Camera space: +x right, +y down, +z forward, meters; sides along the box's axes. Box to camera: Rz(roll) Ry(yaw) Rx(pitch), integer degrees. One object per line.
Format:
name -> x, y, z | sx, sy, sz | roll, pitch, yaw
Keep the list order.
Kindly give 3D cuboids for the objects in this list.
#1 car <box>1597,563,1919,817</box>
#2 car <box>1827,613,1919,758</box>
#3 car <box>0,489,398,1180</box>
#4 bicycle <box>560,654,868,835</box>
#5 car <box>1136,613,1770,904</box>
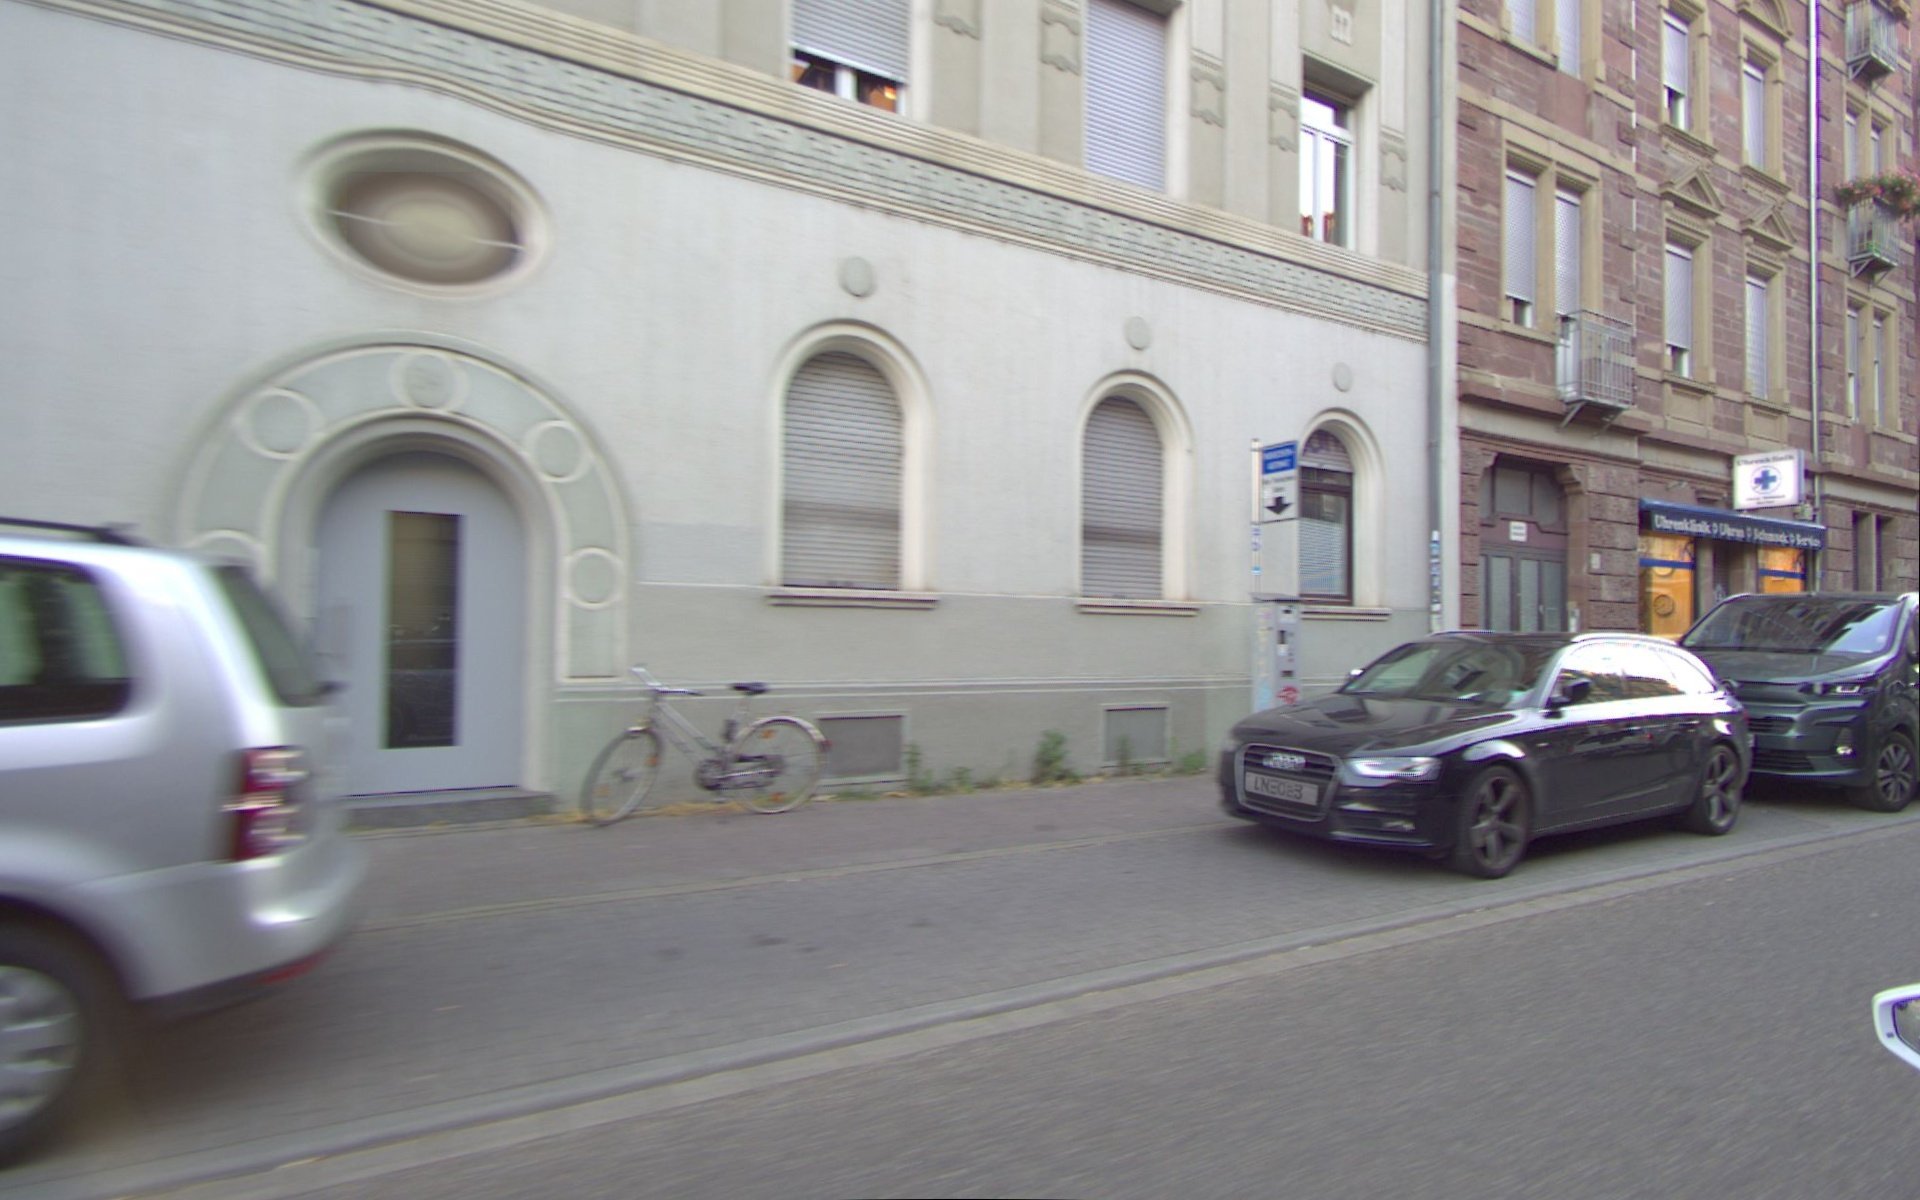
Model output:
car -> 8.557, 0.762, 9.790 | 4.887, 1.951, 1.896 | 2, -1, -30
car -> 13.022, 1.047, 12.649 | 4.017, 1.684, 1.897 | 2, -2, -29
car -> -3.876, 0.512, 2.514 | 4.264, 1.612, 1.984 | 2, -1, -31
bicycle -> -1.678, 0.942, 7.021 | 2.005, 1.110, 0.557 | 2, -1, -30
car -> 3.605, 0.887, 7.146 | 4.481, 1.491, 1.902 | 2, -1, -30
